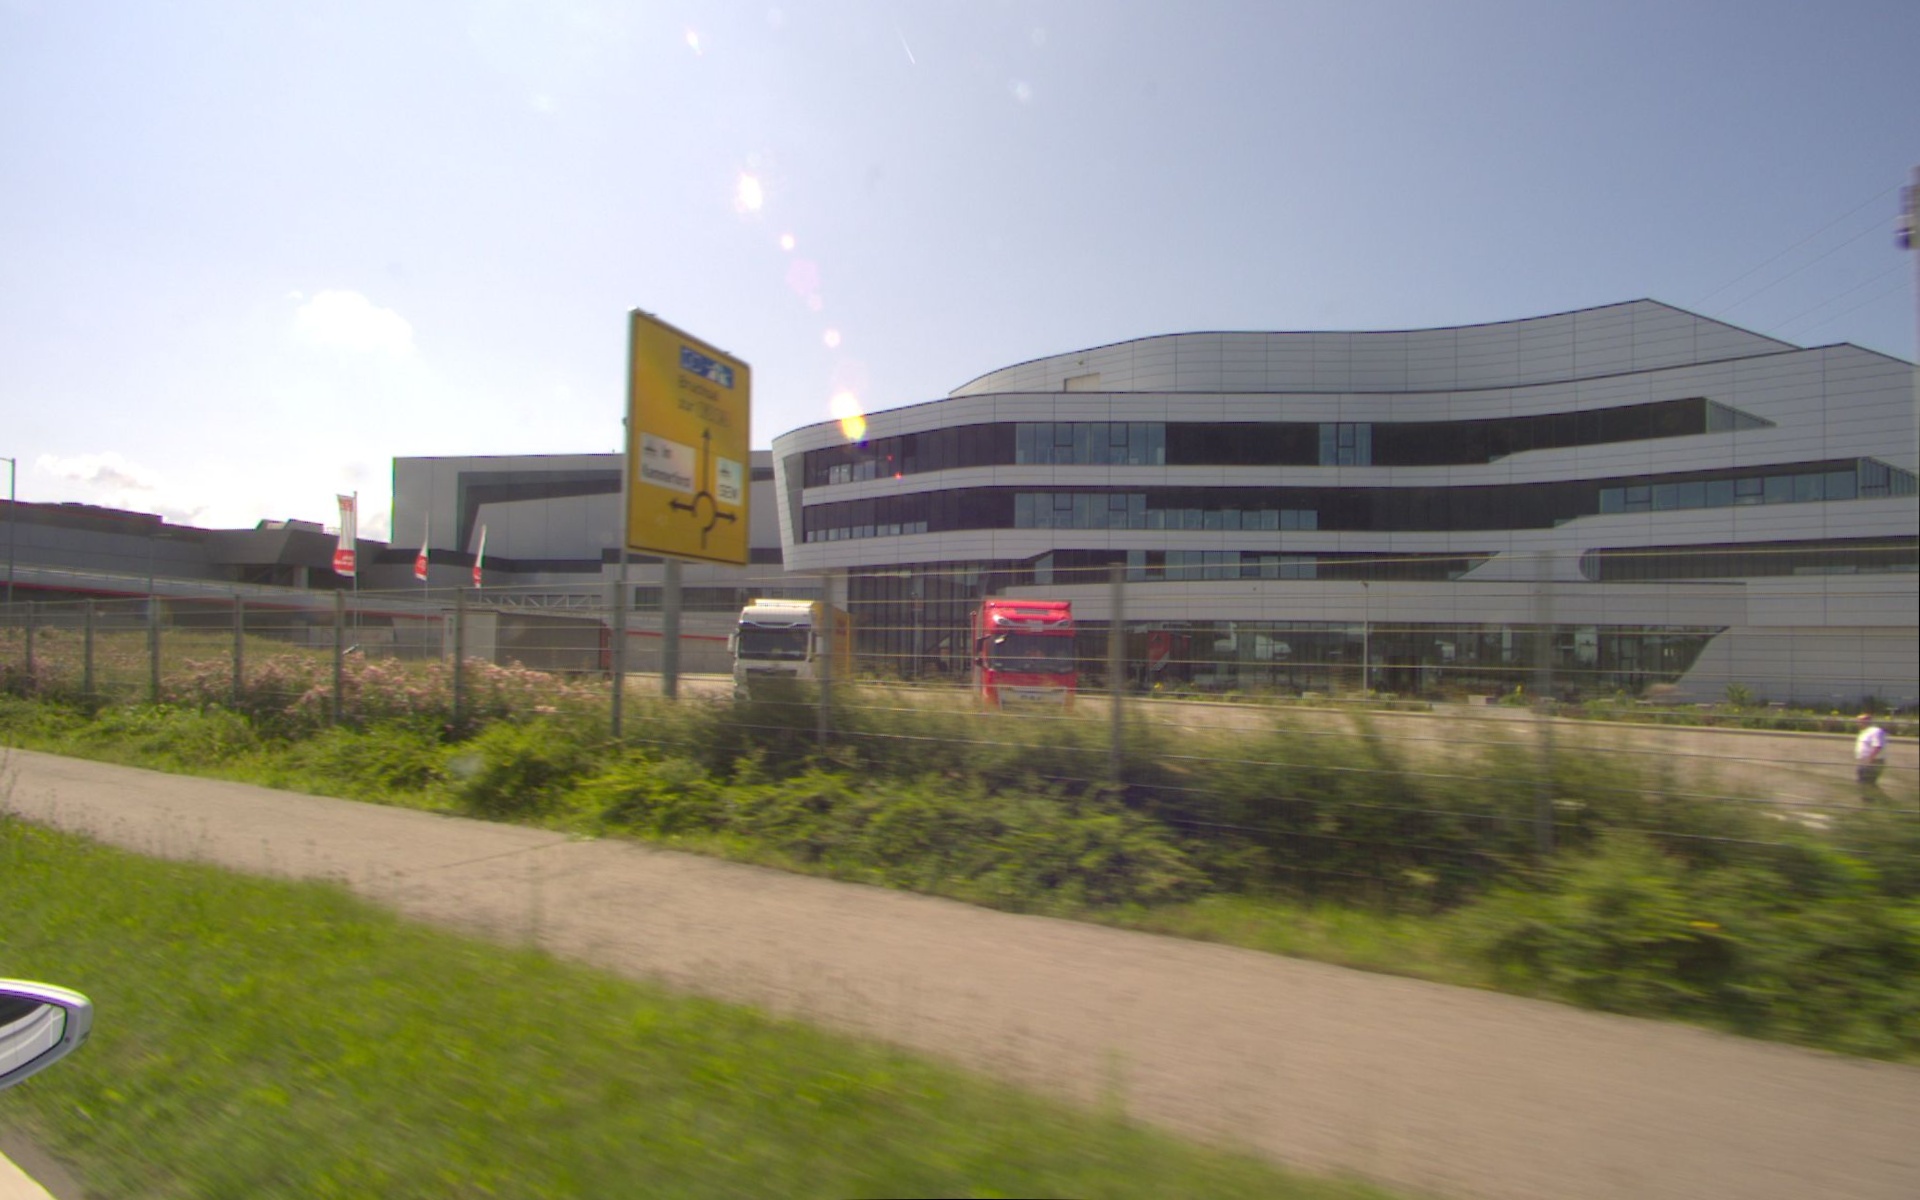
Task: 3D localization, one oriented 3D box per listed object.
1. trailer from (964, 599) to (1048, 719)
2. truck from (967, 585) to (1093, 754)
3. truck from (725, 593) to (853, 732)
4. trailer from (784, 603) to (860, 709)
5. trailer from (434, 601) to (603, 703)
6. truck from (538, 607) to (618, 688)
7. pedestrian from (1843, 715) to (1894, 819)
[{"bbox_3d":[1.710,2.272,40.832,2.970,4.350,8.719,0,-2,0],"label":"trailer"},{"bbox_3d":[1.815,1.940,31.022,2.970,4.310,10.978,0,-2,-1],"label":"truck"},{"bbox_3d":[-5.774,2.073,35.914,2.767,4.225,10.978,0,-2,0],"label":"truck"},{"bbox_3d":[-6.132,2.446,45.656,2.845,4.350,8.718,0,-2,-4],"label":"trailer"},{"bbox_3d":[-22.035,2.509,51.335,2.712,4.494,14.069,0,-2,-1],"label":"trailer"},{"bbox_3d":[-22.181,2.730,58.379,2.712,4.479,5.293,0,-1,-1],"label":"truck"},{"bbox_3d":[15.492,2.826,17.088,0.567,1.673,0.482,0,-2,36],"label":"pedestrian"}]
